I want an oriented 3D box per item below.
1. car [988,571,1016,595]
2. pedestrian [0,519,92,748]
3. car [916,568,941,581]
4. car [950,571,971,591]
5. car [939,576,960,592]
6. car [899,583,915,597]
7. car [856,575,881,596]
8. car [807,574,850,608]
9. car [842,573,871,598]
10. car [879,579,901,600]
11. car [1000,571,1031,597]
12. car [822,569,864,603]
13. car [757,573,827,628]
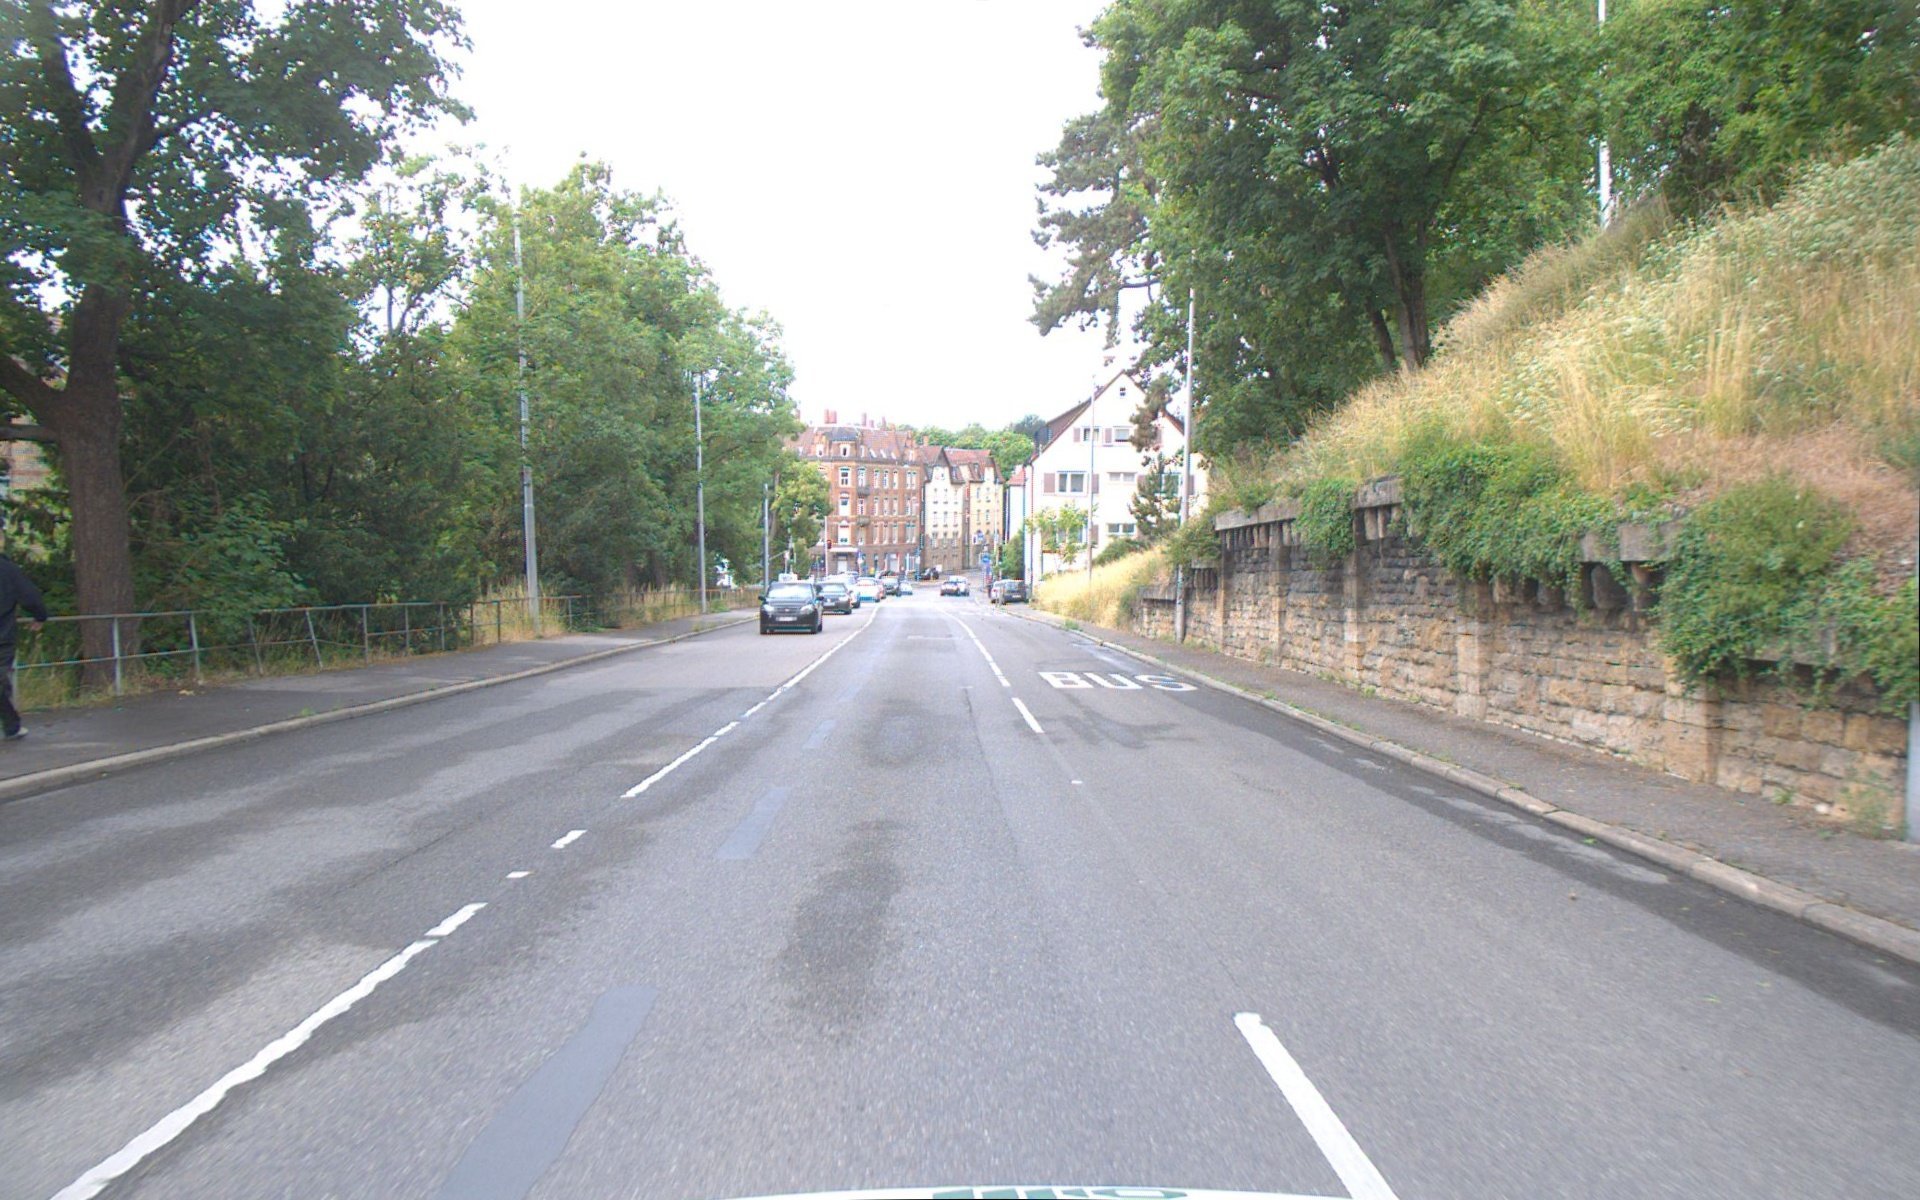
[{"bbox_3d":[2.843,-1.169,111.276,1.757,1.476,4.720,-3,1,2],"label":"car"},{"bbox_3d":[-7.905,0.236,13.691,0.773,1.805,1.208,3,1,-4],"label":"pedestrian"},{"bbox_3d":[-4.066,-3.364,216.511,1.940,1.602,4.377,-1,0,18],"label":"car"},{"bbox_3d":[0.089,-1.926,169.369,1.869,1.917,4.002,2,0,3],"label":"car"},{"bbox_3d":[-1.001,-1.578,162.762,1.778,1.455,4.002,2,1,3],"label":"car"},{"bbox_3d":[-5.664,-1.078,177.941,1.686,1.470,4.157,-1,1,-2],"label":"car"},{"bbox_3d":[-6.856,-1.095,123.900,1.748,1.485,4.427,-1,0,-2],"label":"car"},{"bbox_3d":[-5.733,-0.396,72.384,1.678,1.452,4.137,0,1,-2],"label":"car"},{"bbox_3d":[-6.723,-0.932,108.140,1.748,1.602,4.279,-1,0,-2],"label":"car"},{"bbox_3d":[-6.081,-0.899,144.367,1.747,1.776,4.428,-1,0,-1],"label":"car"},{"bbox_3d":[3.421,-0.988,102.364,1.648,1.476,3.999,-3,0,-1],"label":"car"},{"bbox_3d":[-6.218,-0.749,88.208,1.955,1.712,4.662,-1,1,-1],"label":"car"},{"bbox_3d":[-4.742,-0.009,47.085,1.635,1.472,3.688,0,1,-1],"label":"car"}]
